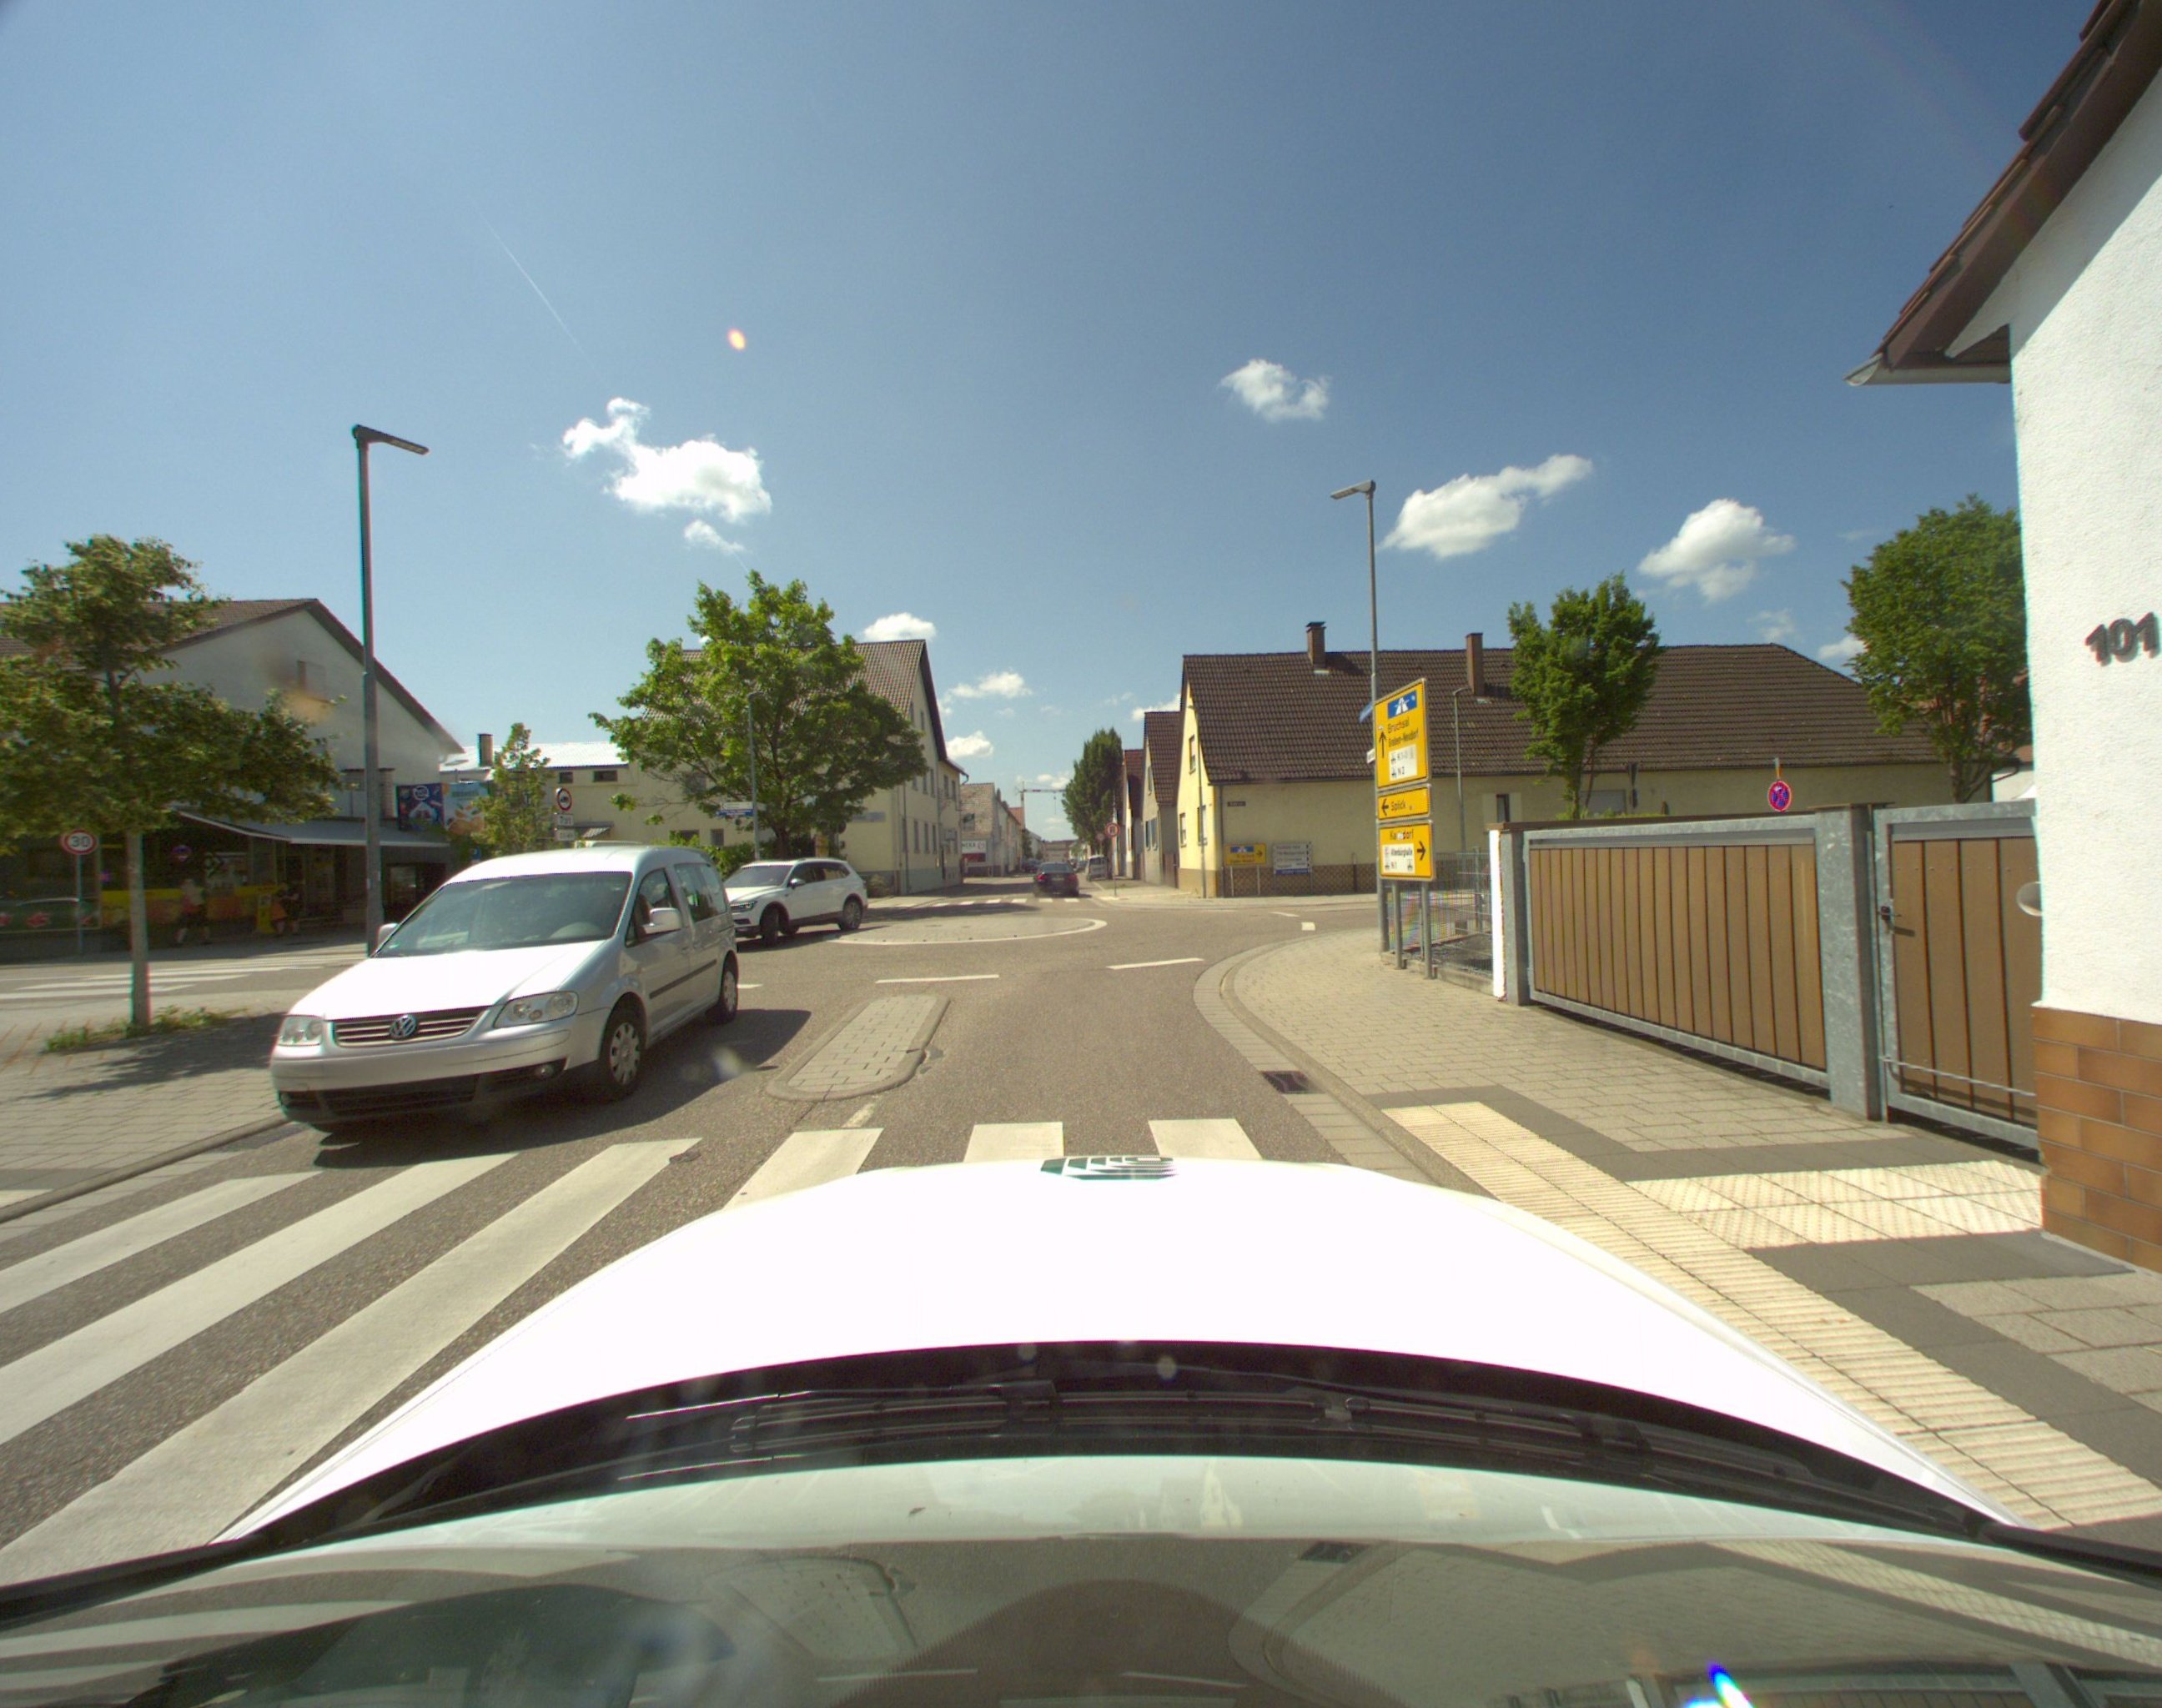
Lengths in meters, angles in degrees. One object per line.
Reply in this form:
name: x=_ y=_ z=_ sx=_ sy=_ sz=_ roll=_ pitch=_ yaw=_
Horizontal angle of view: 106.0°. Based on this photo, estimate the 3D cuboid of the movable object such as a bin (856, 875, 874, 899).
movable object such as a bin: x=-10.028 y=1.519 z=37.752 sx=0.597 sy=1.079 sz=0.658 roll=-2 pitch=-1 yaw=1

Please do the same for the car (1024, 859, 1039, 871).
car: x=-6.641 y=1.484 z=109.250 sx=1.804 sy=1.589 sz=3.996 roll=-2 pitch=0 yaw=-2

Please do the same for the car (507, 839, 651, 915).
car: x=-18.566 y=0.785 z=30.500 sx=1.931 sy=2.567 sz=5.645 roll=-1 pitch=0 yaw=-1

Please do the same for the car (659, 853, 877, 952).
car: x=-6.221 y=0.878 z=16.871 sx=1.852 sy=1.710 sz=4.560 roll=-2 pitch=0 yaw=14

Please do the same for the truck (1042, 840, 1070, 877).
truck: x=-2.947 y=0.574 z=98.814 sx=3.135 sy=4.251 sz=9.299 roll=0 pitch=-1 yaw=0

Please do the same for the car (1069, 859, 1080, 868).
car: x=-0.997 y=1.412 z=123.452 sx=1.715 sy=1.355 sz=4.154 roll=-2 pitch=0 yaw=-1

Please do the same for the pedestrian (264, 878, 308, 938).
pedestrian: x=-22.133 y=1.487 z=22.679 sx=0.869 sy=1.589 sz=0.755 roll=-1 pitch=1 yaw=41

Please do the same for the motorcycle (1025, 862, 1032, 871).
motorcycle: x=-6.773 y=1.646 z=105.246 sx=0.844 sy=1.170 sz=2.466 roll=0 pitch=-1 yaw=-3

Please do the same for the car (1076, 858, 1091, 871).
car: x=0.297 y=1.188 z=95.010 sx=1.714 sy=1.461 sz=4.156 roll=-2 pitch=0 yaw=0

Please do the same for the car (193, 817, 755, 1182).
car: x=-4.128 y=0.781 z=6.624 sx=1.772 sy=1.821 sz=4.426 roll=-4 pitch=0 yaw=-10

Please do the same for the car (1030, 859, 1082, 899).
car: x=-1.147 y=1.013 z=35.198 sx=1.900 sy=1.564 sz=4.466 roll=-2 pitch=0 yaw=-6

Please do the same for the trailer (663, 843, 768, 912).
trailer: x=-13.356 y=0.808 z=30.075 sx=1.873 sy=2.335 sz=4.521 roll=-1 pitch=0 yaw=-1

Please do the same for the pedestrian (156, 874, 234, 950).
pedestrian: x=-22.555 y=1.460 z=20.751 sx=0.779 sy=1.825 sz=1.022 roll=-2 pitch=1 yaw=-3

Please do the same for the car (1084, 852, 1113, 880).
car: x=1.206 y=0.829 z=58.222 sx=1.716 sy=1.790 sz=4.139 roll=-4 pitch=0 yaw=-3
